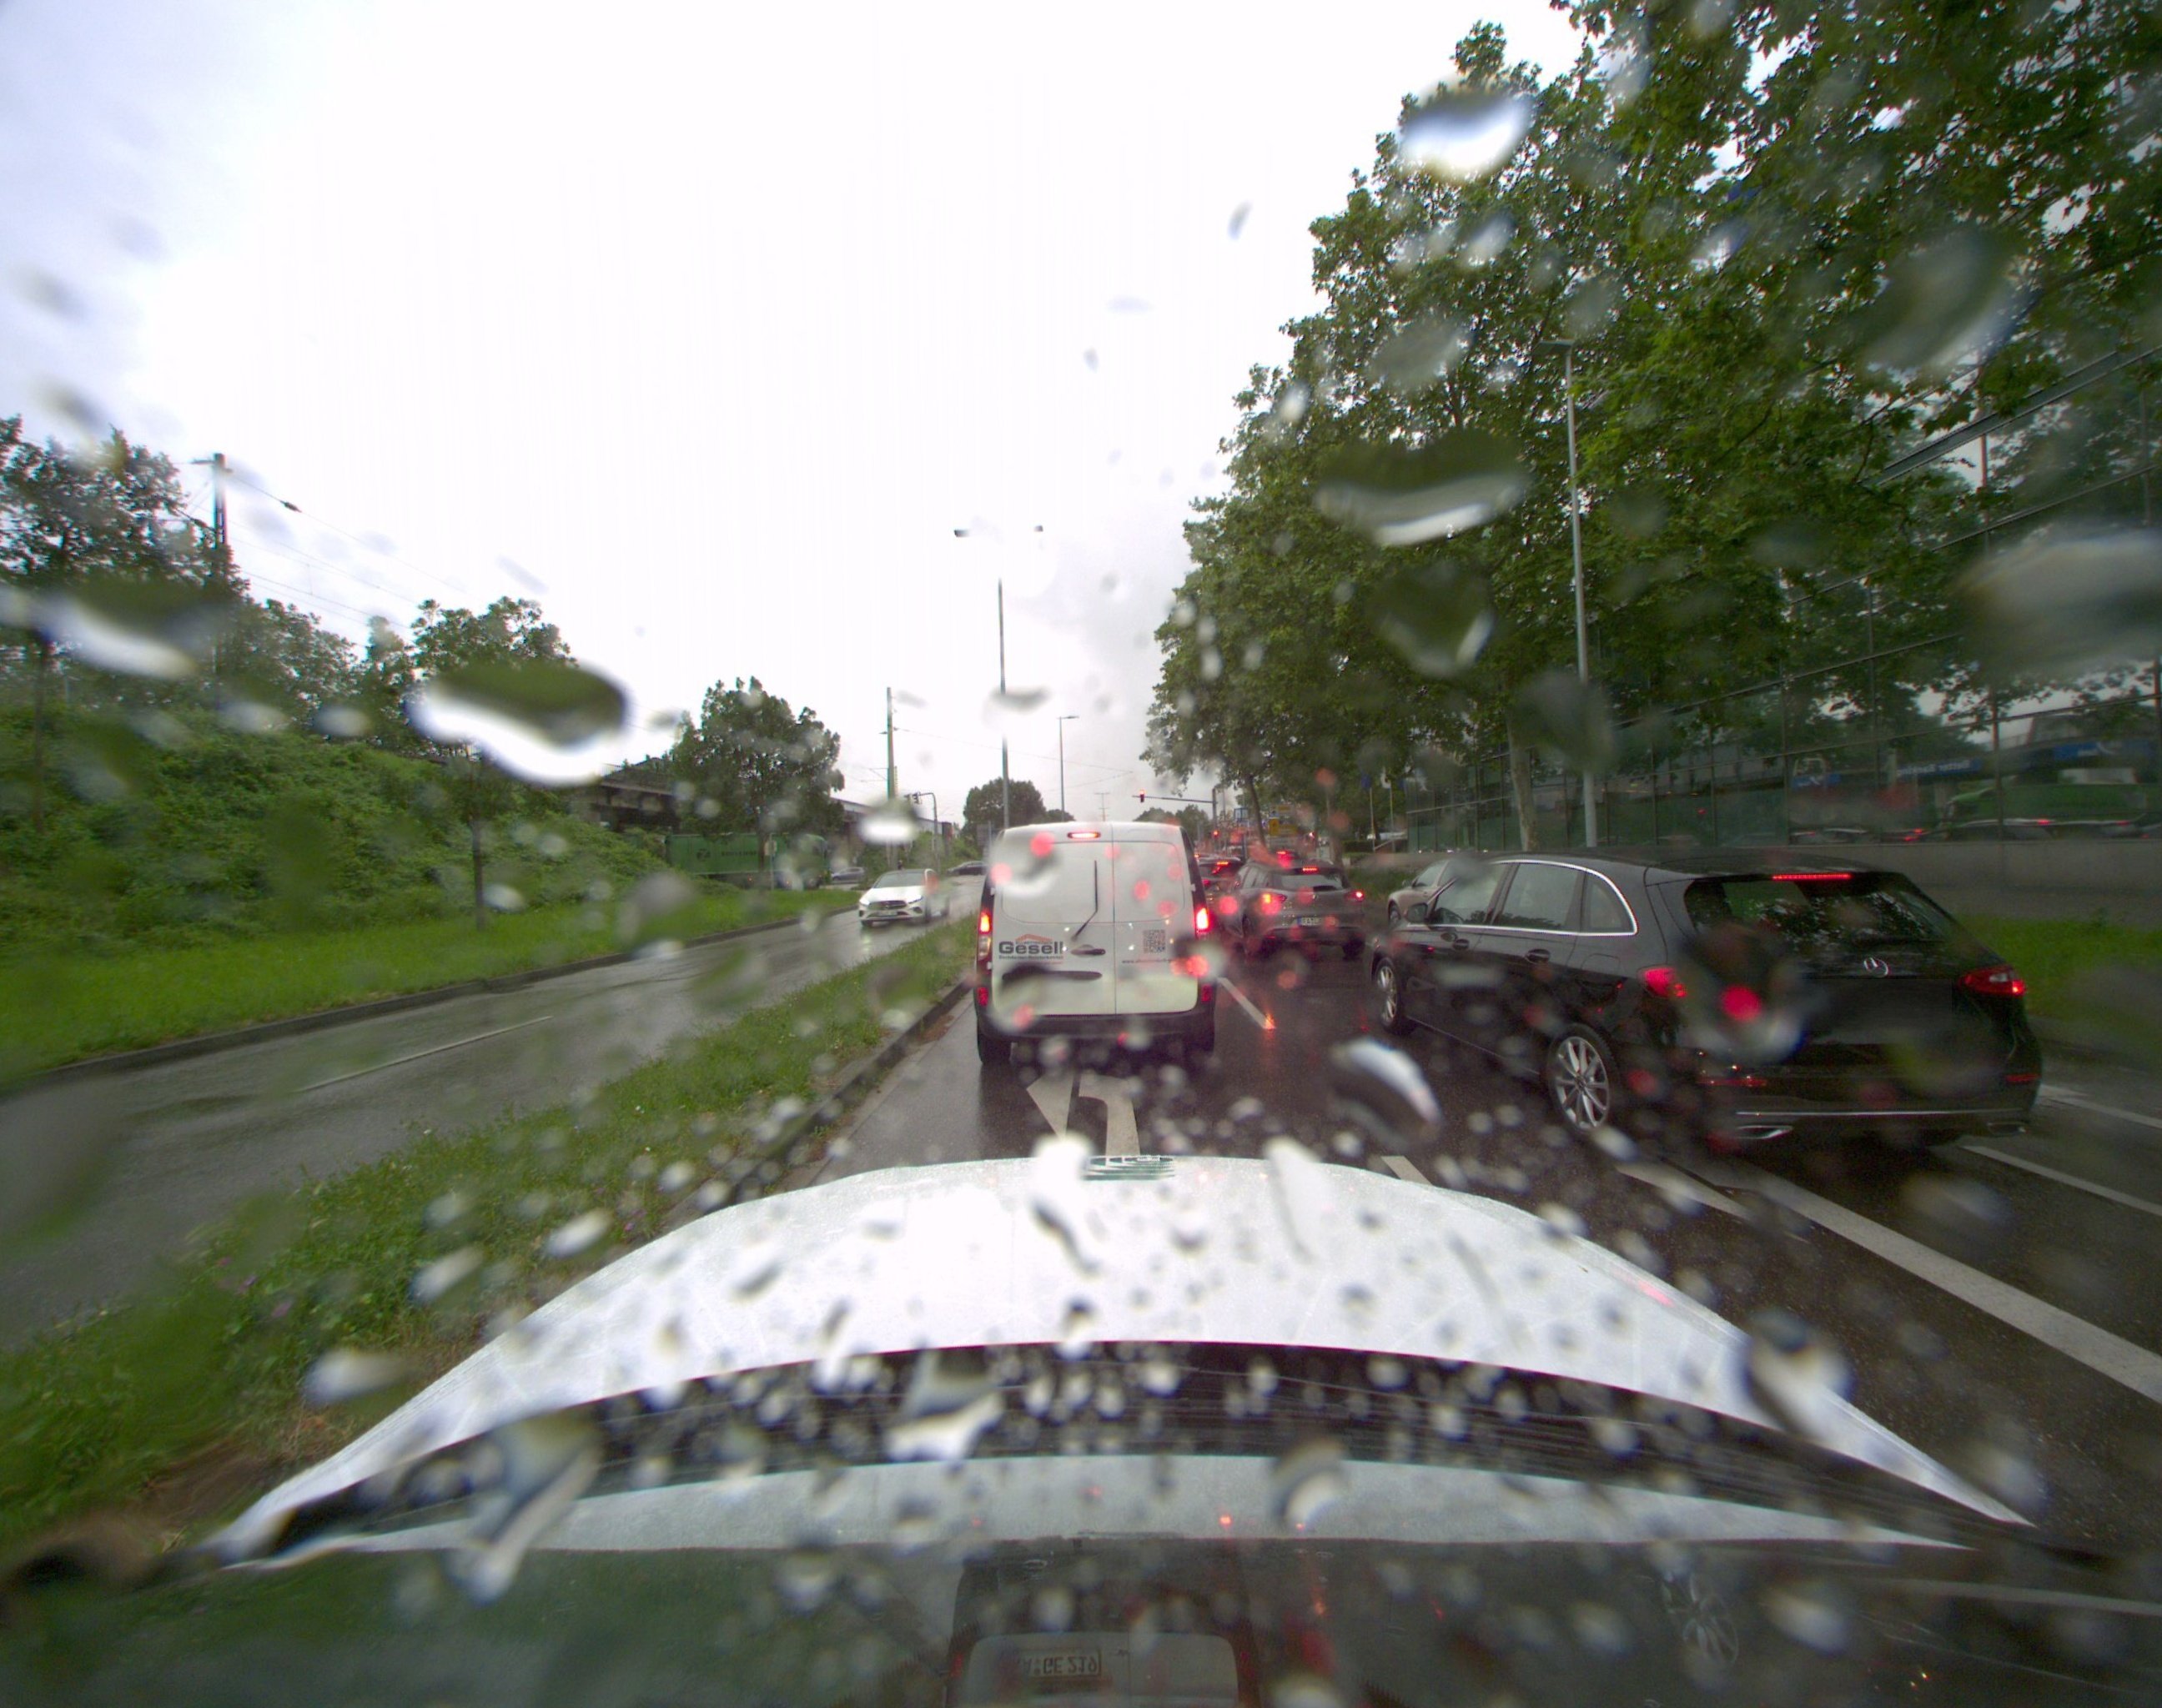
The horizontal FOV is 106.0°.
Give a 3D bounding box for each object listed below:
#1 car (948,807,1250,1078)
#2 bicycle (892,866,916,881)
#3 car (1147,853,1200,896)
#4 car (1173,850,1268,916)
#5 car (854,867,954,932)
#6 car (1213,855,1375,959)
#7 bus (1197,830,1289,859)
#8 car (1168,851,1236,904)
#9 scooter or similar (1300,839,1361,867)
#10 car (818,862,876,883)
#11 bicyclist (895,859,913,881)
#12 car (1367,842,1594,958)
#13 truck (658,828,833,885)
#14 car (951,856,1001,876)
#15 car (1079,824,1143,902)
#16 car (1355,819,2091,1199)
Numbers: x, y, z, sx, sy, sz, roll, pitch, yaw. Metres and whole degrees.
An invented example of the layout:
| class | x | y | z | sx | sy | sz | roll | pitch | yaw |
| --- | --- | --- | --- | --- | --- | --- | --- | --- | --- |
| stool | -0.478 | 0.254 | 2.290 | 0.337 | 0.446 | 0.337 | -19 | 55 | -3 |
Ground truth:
| class | x | y | z | sx | sy | sz | roll | pitch | yaw |
| --- | --- | --- | --- | --- | --- | --- | --- | --- | --- |
| car | 0.192 | 0.592 | 7.777 | 1.986 | 1.776 | 4.587 | -1 | 0 | 2 |
| bicycle | -12.190 | 1.340 | 56.001 | 1.045 | 0.952 | 2.866 | -2 | 0 | -22 |
| car | 3.755 | 0.817 | 33.579 | 1.847 | 1.650 | 3.844 | -1 | -1 | 2 |
| car | 3.433 | 0.661 | 20.688 | 1.847 | 1.460 | 3.844 | -1 | 0 | 2 |
| car | -4.823 | 1.199 | 22.744 | 1.728 | 1.519 | 4.048 | -4 | -1 | 1 |
| car | 3.256 | 0.734 | 13.157 | 1.677 | 1.408 | 3.844 | 0 | 0 | 1 |
| bus | 21.895 | -1.344 | 110.595 | 11.926 | 3.423 | 2.316 | -2 | 0 | 1 |
| car | 4.060 | 0.732 | 27.905 | 1.847 | 1.649 | 3.844 | -1 | 0 | 2 |
| scooter or similar | 23.451 | -0.073 | 76.689 | 1.905 | 2.446 | 5.257 | -1 | 0 | -39 |
| car | -22.259 | 1.765 | 77.523 | 4.899 | 1.718 | 1.795 | -3 | 0 | -31 |
| bicyclist | -12.180 | 1.090 | 55.980 | 1.045 | 1.450 | 0.723 | -2 | 0 | -23 |
| car | 6.261 | 0.629 | 13.344 | 1.869 | 1.613 | 4.002 | 0 | 0 | 2 |
| truck | -21.314 | 0.064 | 52.257 | 10.105 | 3.371 | 2.322 | -2 | 0 | -35 |
| car | -10.536 | 1.185 | 81.725 | 4.870 | 1.718 | 1.806 | -2 | 0 | -12 |
| car | 0.964 | 0.253 | 26.330 | 1.847 | 2.296 | 3.844 | -1 | 0 | 2 |
| car | 3.375 | 0.650 | 5.454 | 1.741 | 1.554 | 4.091 | -1 | 0 | 1 |
